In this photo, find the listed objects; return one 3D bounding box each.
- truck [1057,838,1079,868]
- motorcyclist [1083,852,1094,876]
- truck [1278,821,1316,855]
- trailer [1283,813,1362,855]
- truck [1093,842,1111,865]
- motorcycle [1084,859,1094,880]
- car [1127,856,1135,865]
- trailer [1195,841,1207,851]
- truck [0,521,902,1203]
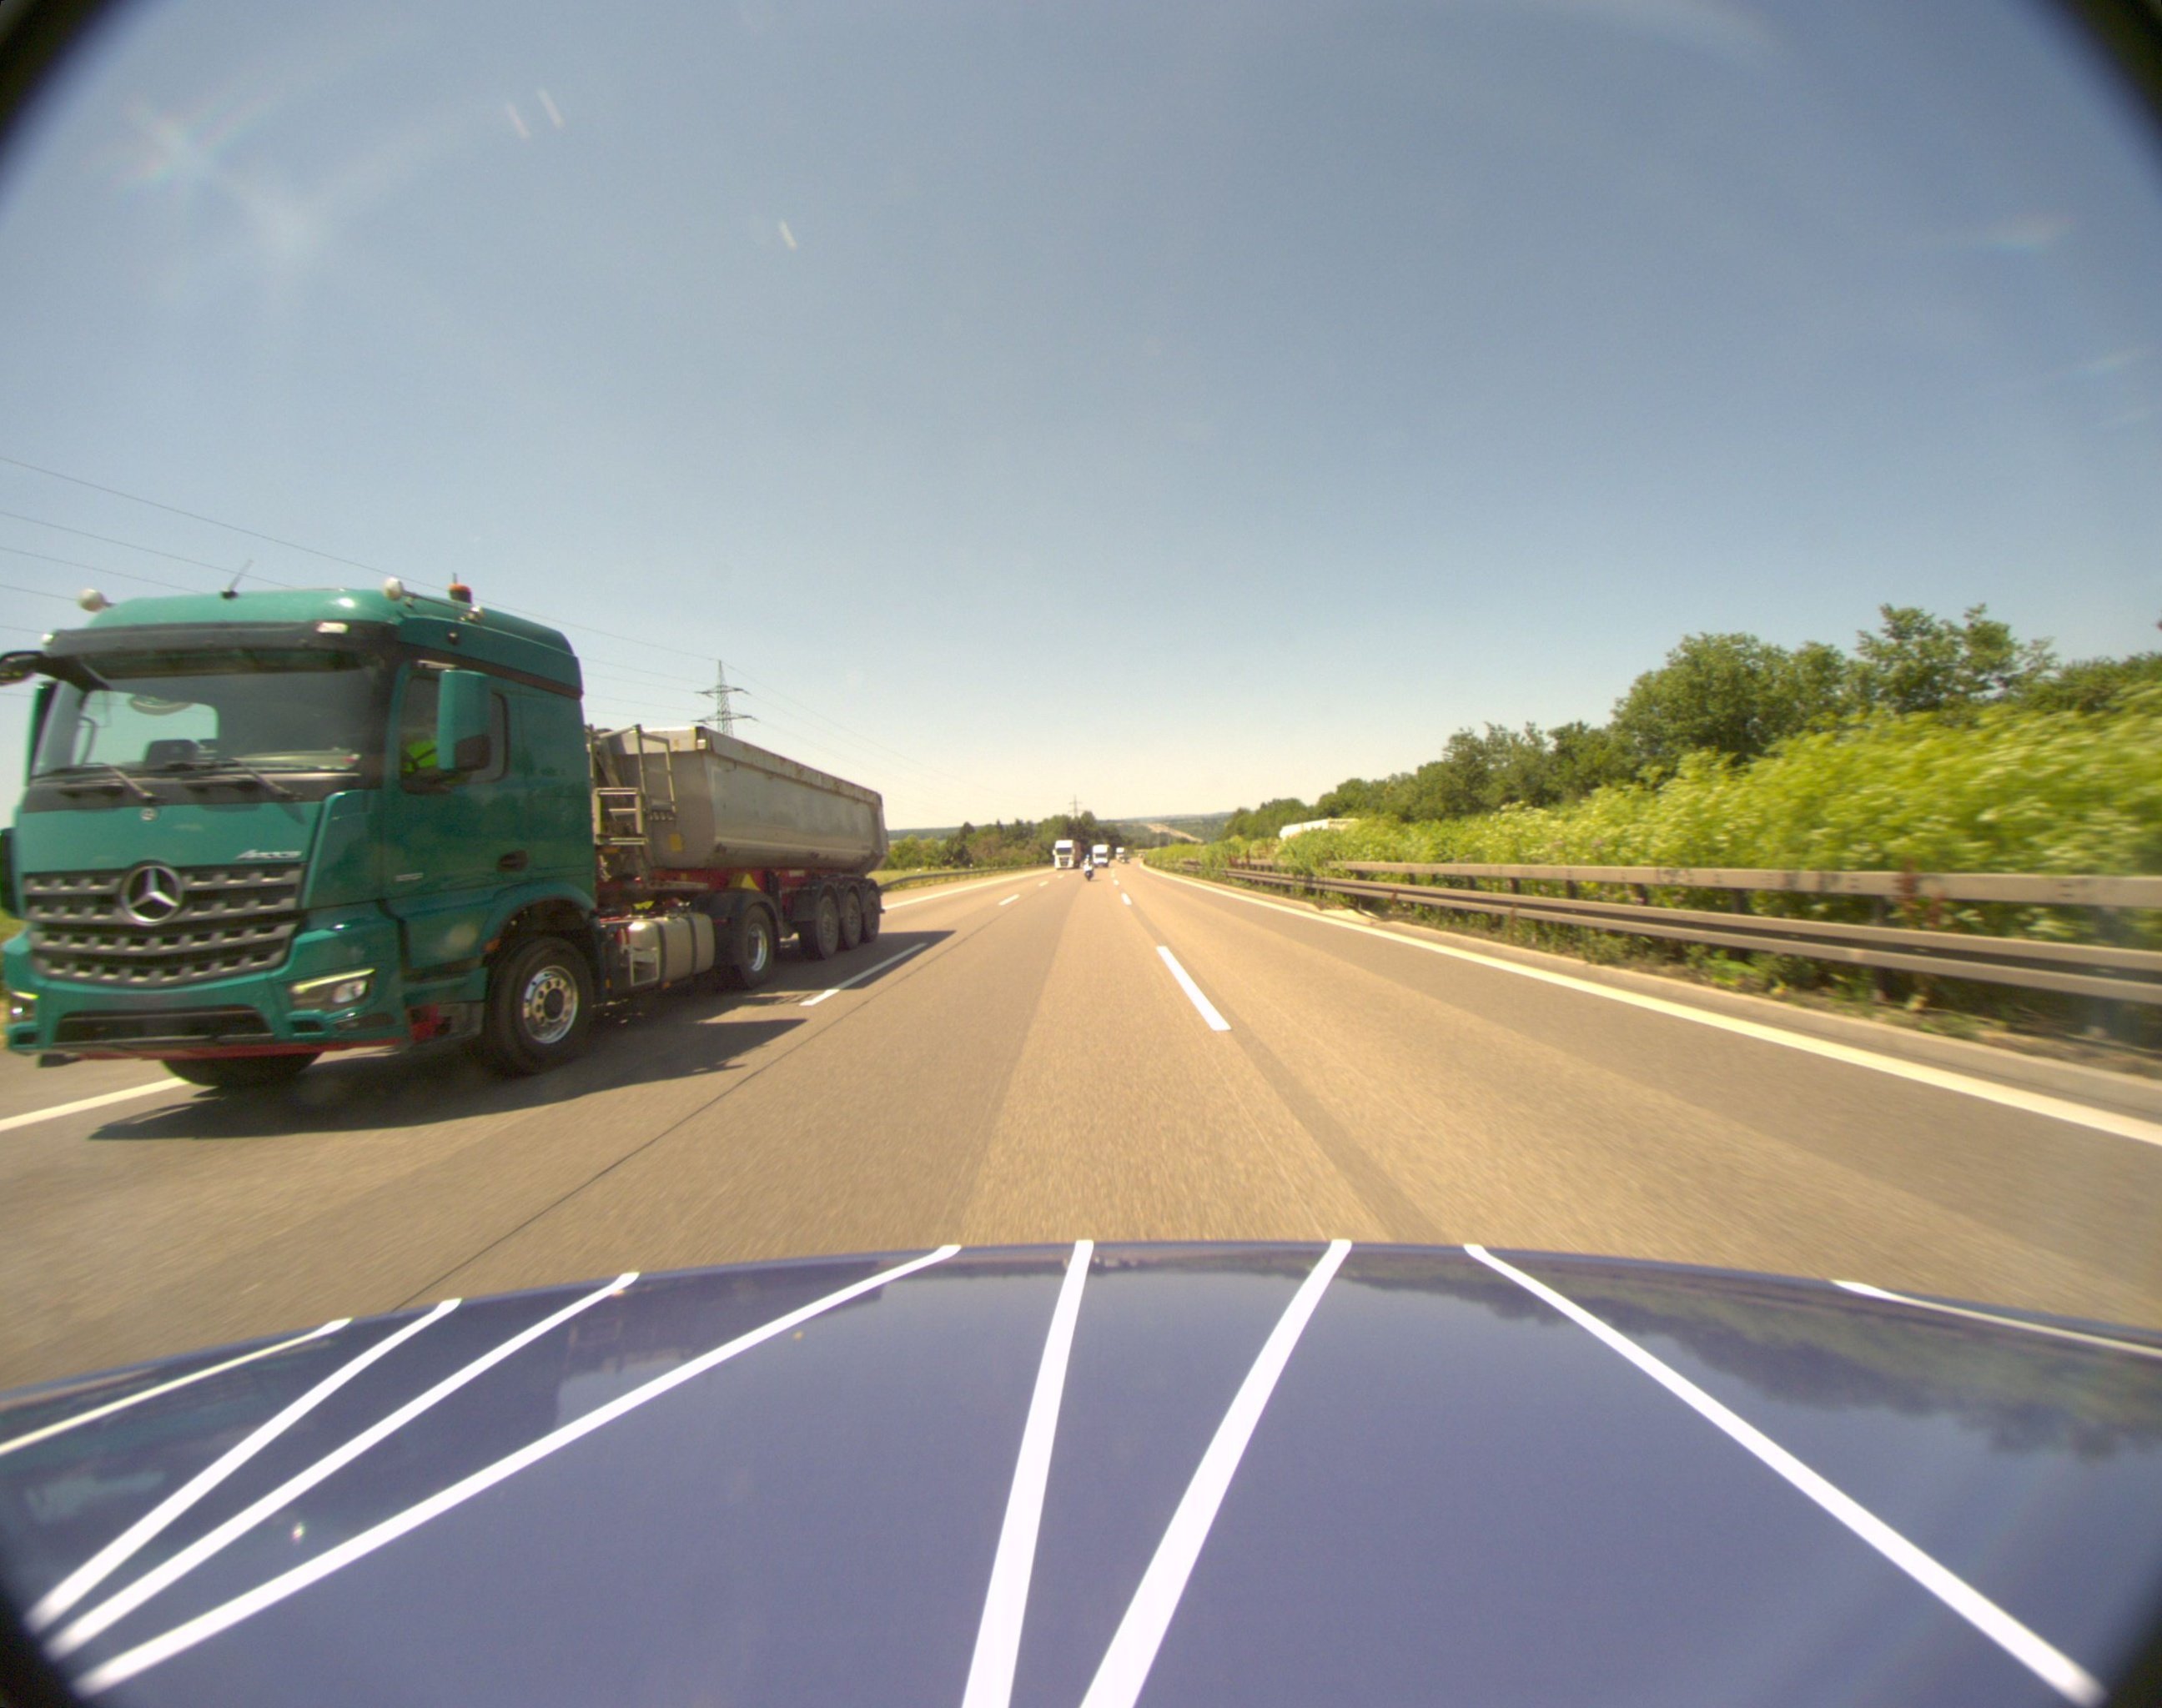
[{"bbox_3d":[-1.808,-0.163,109.295,2.567,4.129,6.250,-2,0,3],"label":"truck"},{"bbox_3d":[0.494,0.658,49.784,0.613,1.499,0.513,-2,1,-1],"label":"motorcyclist"},{"bbox_3d":[22.350,-1.600,78.795,2.603,3.331,5.045,-2,0,2],"label":"truck"},{"bbox_3d":[22.113,-1.696,70.920,2.604,3.423,15.830,-2,0,1],"label":"trailer"},{"bbox_3d":[3.200,-0.042,112.795,2.512,3.268,8.107,-1,0,2],"label":"truck"},{"bbox_3d":[0.508,1.010,49.661,0.631,1.279,2.312,-3,0,0],"label":"motorcycle"},{"bbox_3d":[10.985,1.436,167.808,1.704,1.958,4.000,-2,0,2],"label":"car"},{"bbox_3d":[34.104,-2.359,216.354,2.572,2.694,11.410,-2,0,5],"label":"trailer"},{"bbox_3d":[-5.520,0.049,10.572,2.872,3.702,12.762,-2,0,0],"label":"truck"}]
